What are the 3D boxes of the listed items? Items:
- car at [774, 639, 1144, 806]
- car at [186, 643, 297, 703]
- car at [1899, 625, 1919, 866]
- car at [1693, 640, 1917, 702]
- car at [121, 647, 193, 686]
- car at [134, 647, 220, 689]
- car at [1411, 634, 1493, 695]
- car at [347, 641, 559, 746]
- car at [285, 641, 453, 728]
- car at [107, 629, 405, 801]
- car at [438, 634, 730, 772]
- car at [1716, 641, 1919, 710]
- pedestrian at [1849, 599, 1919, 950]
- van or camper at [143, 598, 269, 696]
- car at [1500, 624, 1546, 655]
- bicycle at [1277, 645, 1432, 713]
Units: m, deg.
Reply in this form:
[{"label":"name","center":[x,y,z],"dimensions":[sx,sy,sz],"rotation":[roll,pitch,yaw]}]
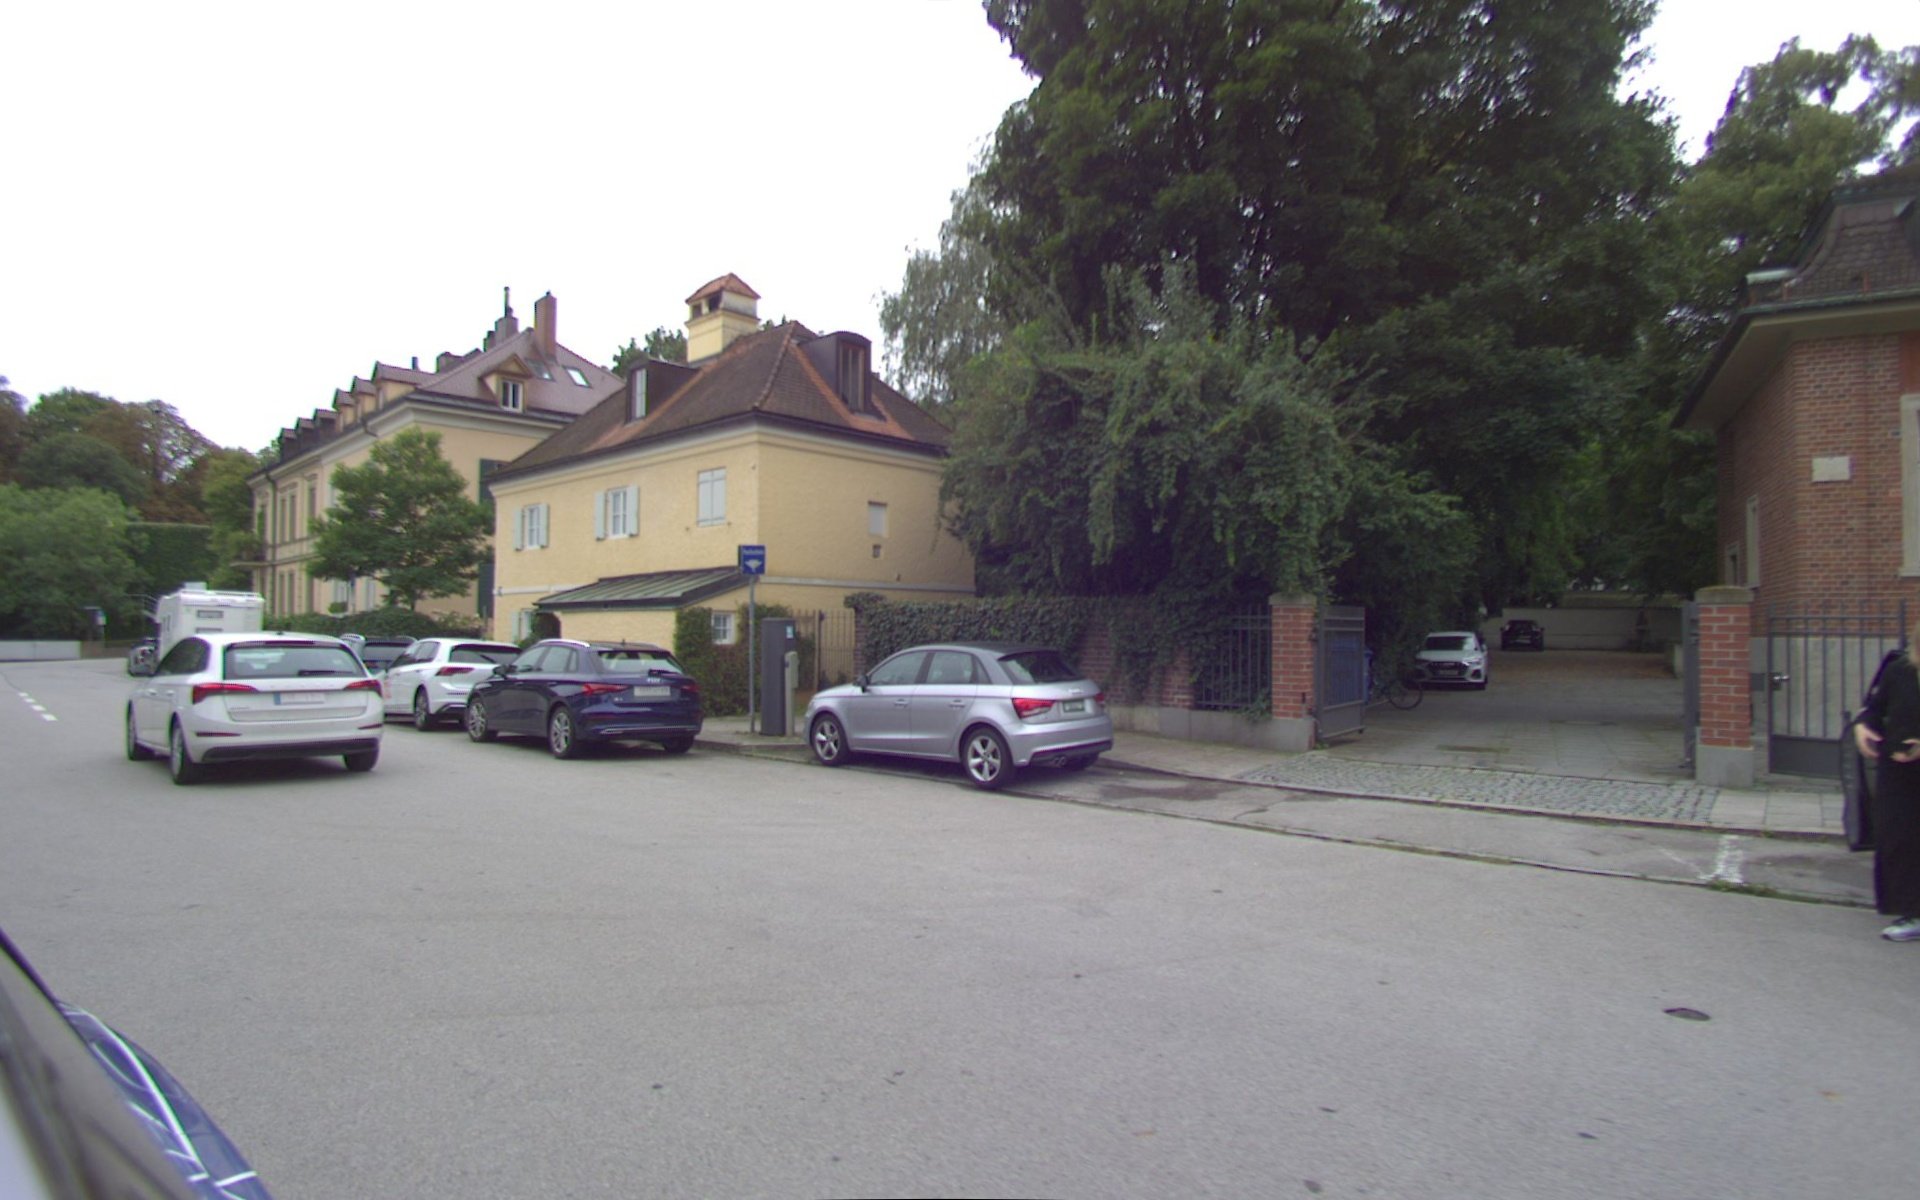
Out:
[{"label":"car","center":[-0.148,1.268,11.507],"dimensions":[4.149,1.547,1.721],"rotation":[-3,-6,43]},{"label":"car","center":[-20.180,2.025,28.369],"dimensions":[4.230,1.547,1.758],"rotation":[-3,-6,45]},{"label":"car","center":[6.062,0.863,4.459],"dimensions":[1.926,1.541,4.299],"rotation":[0,-2,31]},{"label":"car","center":[20.296,1.677,24.547],"dimensions":[3.866,1.399,1.736],"rotation":[-2,-3,30]},{"label":"car","center":[-34.572,2.845,43.511],"dimensions":[1.913,1.547,4.534],"rotation":[5,-6,-44]},{"label":"car","center":[-30.459,2.634,39.320],"dimensions":[4.823,1.520,1.914],"rotation":[-3,-6,44]},{"label":"car","center":[14.321,1.806,29.364],"dimensions":[1.991,1.630,3.962],"rotation":[-2,-3,28]},{"label":"car","center":[-8.680,1.515,17.136],"dimensions":[1.824,1.547,4.523],"rotation":[6,-6,-45]},{"label":"car","center":[-12.076,1.661,20.557],"dimensions":[1.824,1.547,4.443],"rotation":[6,-5,-45]},{"label":"car","center":[-7.634,1.083,10.825],"dimensions":[4.133,1.486,1.753],"rotation":[-2,-3,43]},{"label":"car","center":[-5.202,1.299,13.661],"dimensions":[4.562,1.547,1.824],"rotation":[-3,-6,44]},{"label":"car","center":[19.042,1.611,22.068],"dimensions":[3.866,1.399,1.736],"rotation":[-2,-3,30]},{"label":"pedestrian","center":[4.867,0.833,4.938],"dimensions":[0.713,1.660,0.584],"rotation":[-2,-4,38]},{"label":"van or camper","center":[-25.623,1.622,34.231],"dimensions":[2.426,2.963,7.217],"rotation":[5,-5,-43]},{"label":"car","center":[26.458,1.859,47.659],"dimensions":[1.746,1.399,3.962],"rotation":[-2,-3,28]},{"label":"bicycle","center":[8.445,1.668,21.768],"dimensions":[3.028,1.399,0.689],"rotation":[-2,-3,29]}]
